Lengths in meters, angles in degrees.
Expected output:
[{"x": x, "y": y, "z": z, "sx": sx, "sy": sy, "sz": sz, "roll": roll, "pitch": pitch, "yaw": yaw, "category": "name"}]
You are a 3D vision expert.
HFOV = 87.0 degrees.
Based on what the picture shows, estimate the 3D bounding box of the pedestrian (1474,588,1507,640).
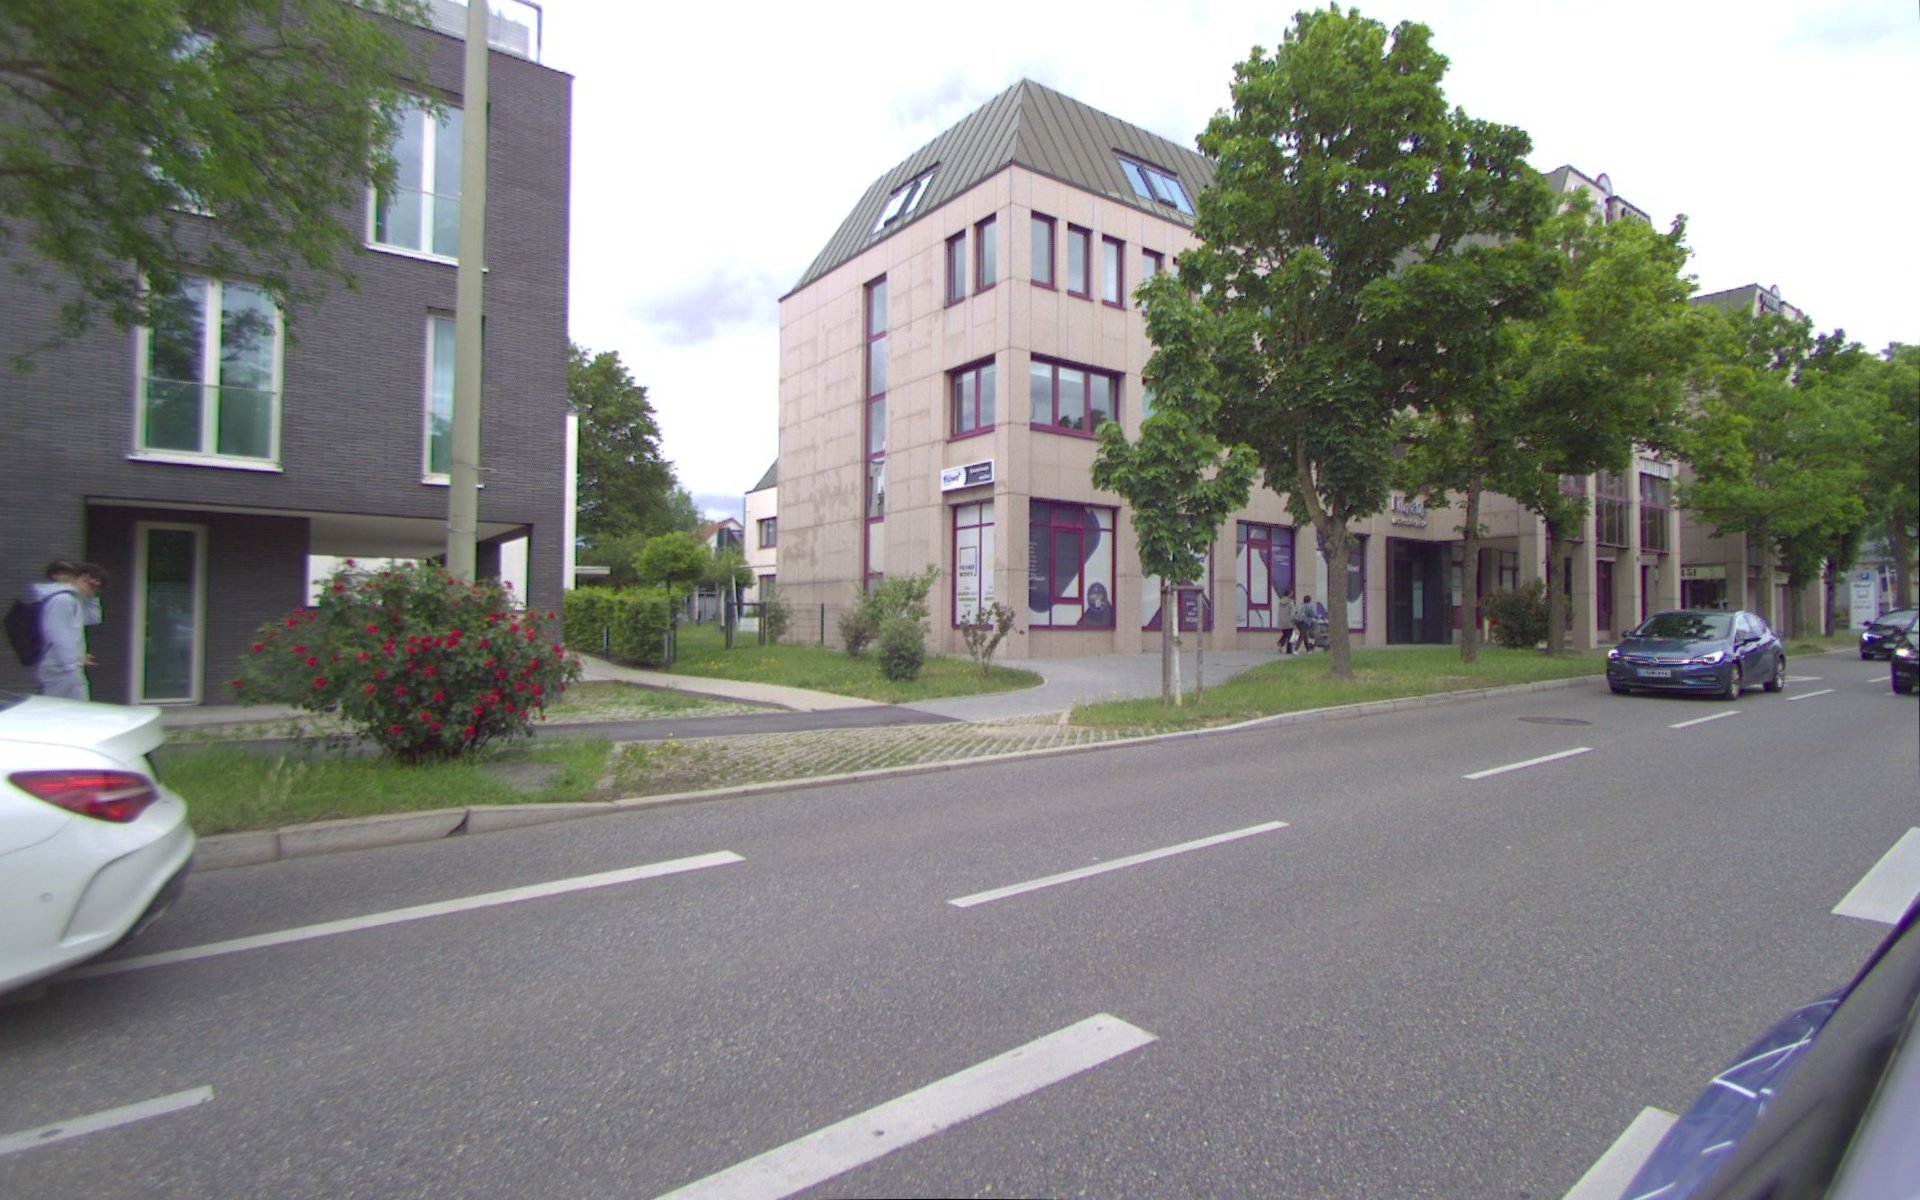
[{"x": 17.881, "y": 0.459, "z": 34.110, "sx": 0.951, "sy": 1.726, "sz": 0.597, "roll": 0, "pitch": -1, "yaw": -35, "category": "pedestrian"}]

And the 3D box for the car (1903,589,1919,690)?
[{"x": 18.021, "y": 0.671, "z": 17.618, "sx": 4.238, "sy": 1.661, "sz": 1.970, "roll": 0, "pitch": 1, "yaw": -42, "category": "car"}]

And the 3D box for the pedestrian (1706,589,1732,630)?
[{"x": 32.522, "y": 0.411, "z": 43.368, "sx": 0.827, "sy": 1.712, "sz": 0.659, "roll": 0, "pitch": 1, "yaw": -36, "category": "pedestrian"}]

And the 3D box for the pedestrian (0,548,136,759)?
[{"x": -8.114, "y": 0.475, "z": 9.157, "sx": 0.936, "sy": 1.798, "sz": 0.609, "roll": 3, "pitch": -3, "yaw": -40, "category": "pedestrian"}]

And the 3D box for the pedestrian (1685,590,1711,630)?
[{"x": 32.024, "y": 0.437, "z": 43.917, "sx": 0.827, "sy": 1.712, "sz": 0.659, "roll": 0, "pitch": 1, "yaw": -36, "category": "pedestrian"}]

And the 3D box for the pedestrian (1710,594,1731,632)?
[{"x": 31.424, "y": 0.529, "z": 41.807, "sx": 0.534, "sy": 1.569, "sz": 0.563, "roll": 0, "pitch": 1, "yaw": -36, "category": "pedestrian"}]

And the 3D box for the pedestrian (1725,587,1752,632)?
[{"x": 32.859, "y": 0.386, "z": 42.714, "sx": 0.827, "sy": 1.849, "sz": 0.659, "roll": 0, "pitch": 1, "yaw": -36, "category": "pedestrian"}]

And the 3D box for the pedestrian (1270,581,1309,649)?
[{"x": 8.487, "y": 0.378, "z": 26.102, "sx": 0.814, "sy": 1.721, "sz": 0.569, "roll": 0, "pitch": -1, "yaw": -36, "category": "pedestrian"}]

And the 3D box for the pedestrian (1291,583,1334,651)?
[{"x": 8.806, "y": 0.419, "z": 25.312, "sx": 0.943, "sy": 1.673, "sz": 0.557, "roll": 0, "pitch": 0, "yaw": -35, "category": "pedestrian"}]

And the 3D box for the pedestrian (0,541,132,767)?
[{"x": -7.621, "y": 0.446, "z": 8.515, "sx": 0.936, "sy": 1.798, "sz": 0.609, "roll": 3, "pitch": -3, "yaw": -40, "category": "pedestrian"}]

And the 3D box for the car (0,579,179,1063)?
[{"x": -4.963, "y": 0.703, "z": 2.625, "sx": 4.616, "sy": 1.491, "sz": 1.797, "roll": -1, "pitch": 0, "yaw": -40, "category": "car"}]

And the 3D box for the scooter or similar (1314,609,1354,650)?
[{"x": 9.535, "y": 0.744, "z": 25.825, "sx": 0.830, "sy": 1.006, "sz": 0.585, "roll": 0, "pitch": 0, "yaw": -35, "category": "scooter or similar"}]

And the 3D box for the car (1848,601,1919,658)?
[{"x": 26.363, "y": 0.773, "z": 28.295, "sx": 4.343, "sy": 1.467, "sz": 1.767, "roll": -1, "pitch": 0, "yaw": -41, "category": "car"}]

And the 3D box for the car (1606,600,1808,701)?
[{"x": 12.918, "y": 0.768, "z": 17.413, "sx": 4.238, "sy": 1.457, "sz": 1.970, "roll": 0, "pitch": 1, "yaw": -42, "category": "car"}]
